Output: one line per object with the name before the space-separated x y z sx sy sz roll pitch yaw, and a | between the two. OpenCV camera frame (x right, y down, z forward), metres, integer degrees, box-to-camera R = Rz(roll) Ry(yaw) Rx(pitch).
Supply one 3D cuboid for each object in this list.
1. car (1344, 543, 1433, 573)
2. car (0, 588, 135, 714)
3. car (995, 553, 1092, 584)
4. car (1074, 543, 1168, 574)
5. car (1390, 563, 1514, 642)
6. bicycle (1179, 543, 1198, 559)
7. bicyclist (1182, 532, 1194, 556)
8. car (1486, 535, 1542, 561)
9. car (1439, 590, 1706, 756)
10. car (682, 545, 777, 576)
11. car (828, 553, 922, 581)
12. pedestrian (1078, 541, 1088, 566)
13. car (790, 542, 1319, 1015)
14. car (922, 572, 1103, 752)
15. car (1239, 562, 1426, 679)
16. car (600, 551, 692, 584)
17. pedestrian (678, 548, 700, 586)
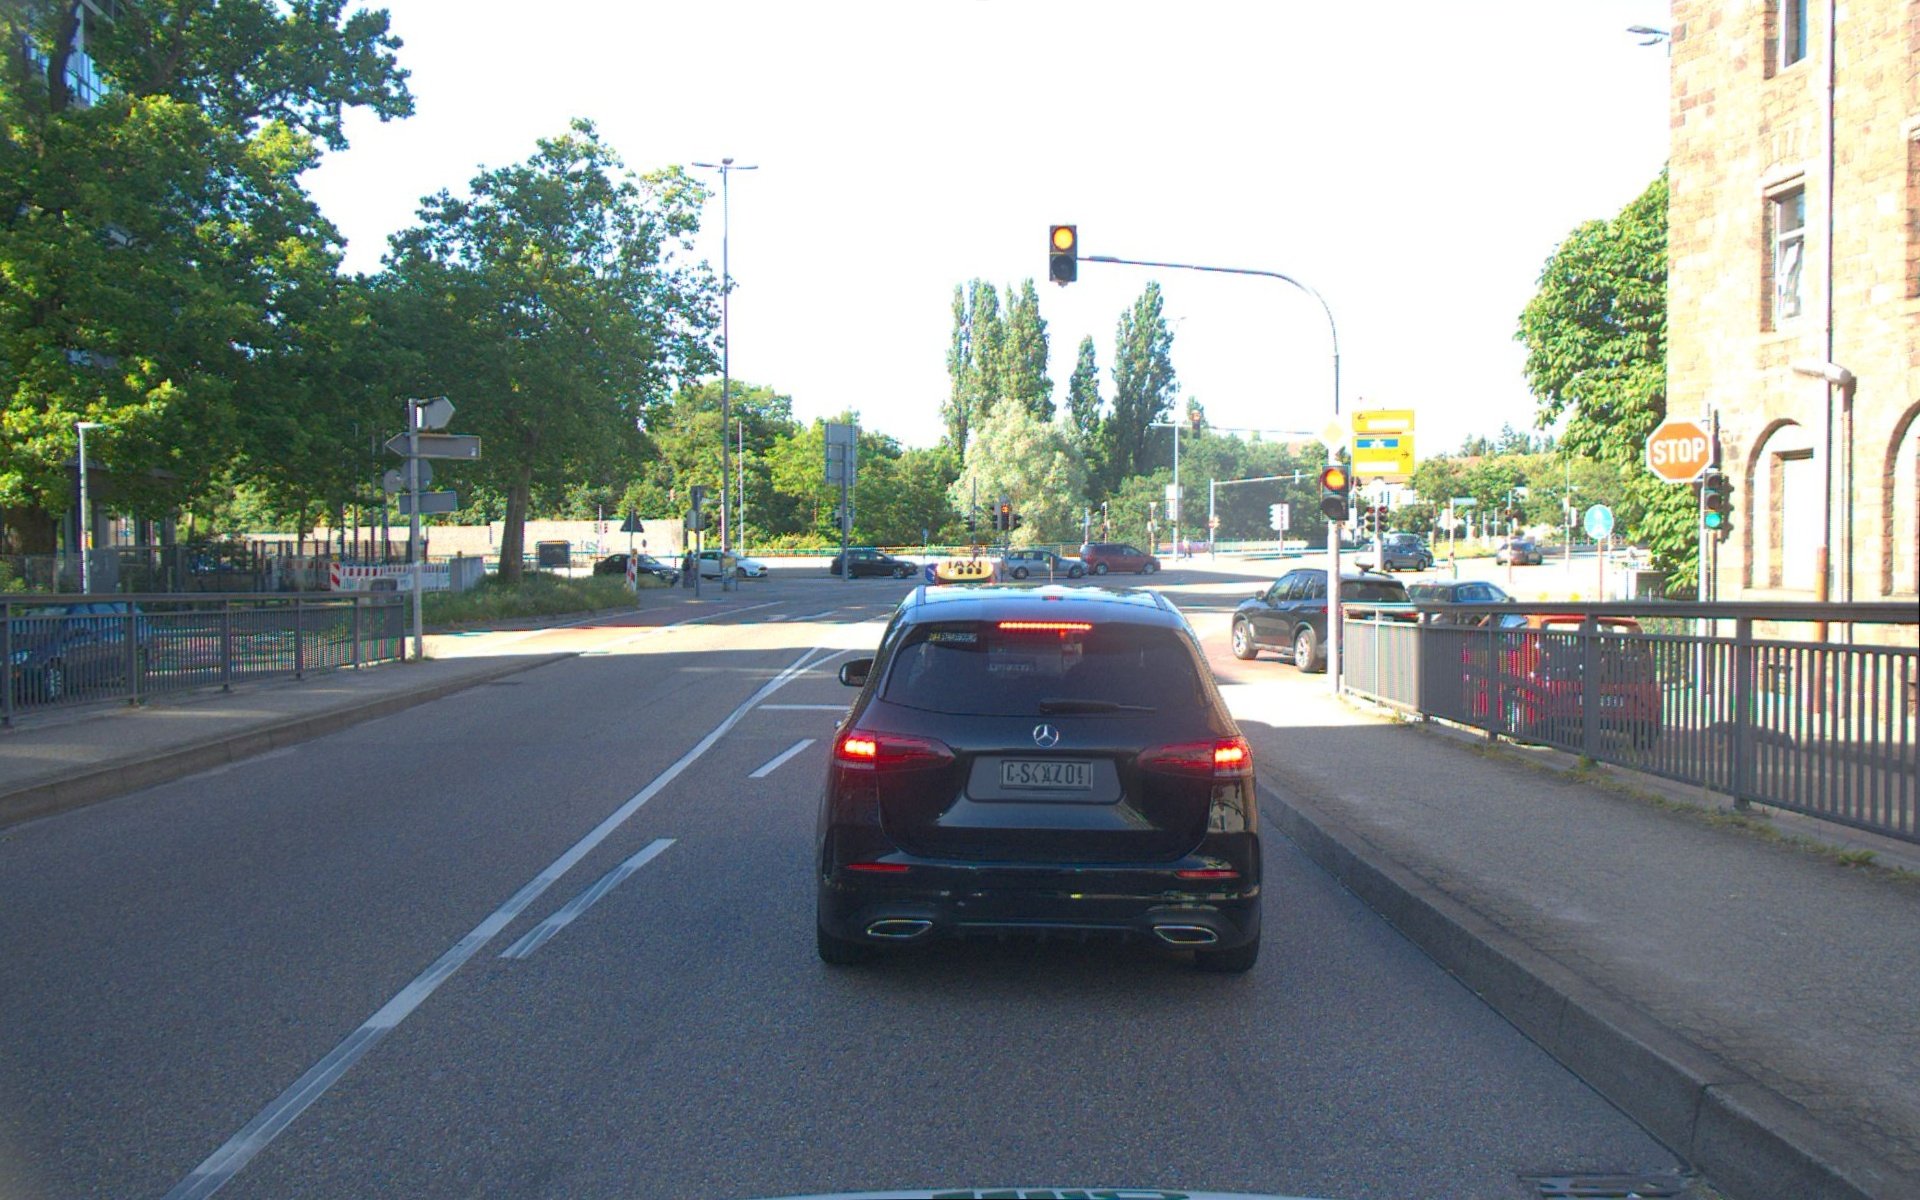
car | 23.159 -2.276 89.396 4.763 1.466 1.978 -3 3 -33
car | -14.762 0.725 25.789 1.814 1.722 4.000 0 2 -1
car | 4.027 -1.545 80.444 4.490 1.317 1.999 -1 3 -5
car | 8.410 -2.193 86.396 4.461 1.481 1.993 -2 3 -15
car | 11.822 0.007 39.558 1.691 1.631 4.286 3 4 33
bicycle | 15.714 -3.352 113.851 0.516 1.068 1.985 -1 2 32
bicyclist | 15.713 -3.857 113.829 0.516 1.578 0.805 -1 2 33
car | 33.400 -3.125 99.695 1.961 1.466 4.278 1 3 37
car | 6.846 0.745 18.862 1.686 1.548 3.486 0 3 -1
car | -11.440 -1.968 82.262 4.210 1.389 2.001 0 3 19
car | -4.370 -1.689 85.308 4.481 1.317 1.889 -1 3 10
pedestrian | 7.780 -2.937 104.522 0.443 1.613 0.499 0 2 40
car | 0.307 0.606 7.825 1.839 1.641 4.000 1 1 -1
car | 0.519 0.536 16.716 1.606 1.556 3.475 -1 2 1
car | 6.552 0.293 29.592 1.690 1.843 4.288 3 1 -10
car | -14.138 -1.461 74.448 4.118 1.431 1.740 1 2 37
pedestrian | -11.107 -1.362 67.832 0.690 1.552 0.744 1 1 10
